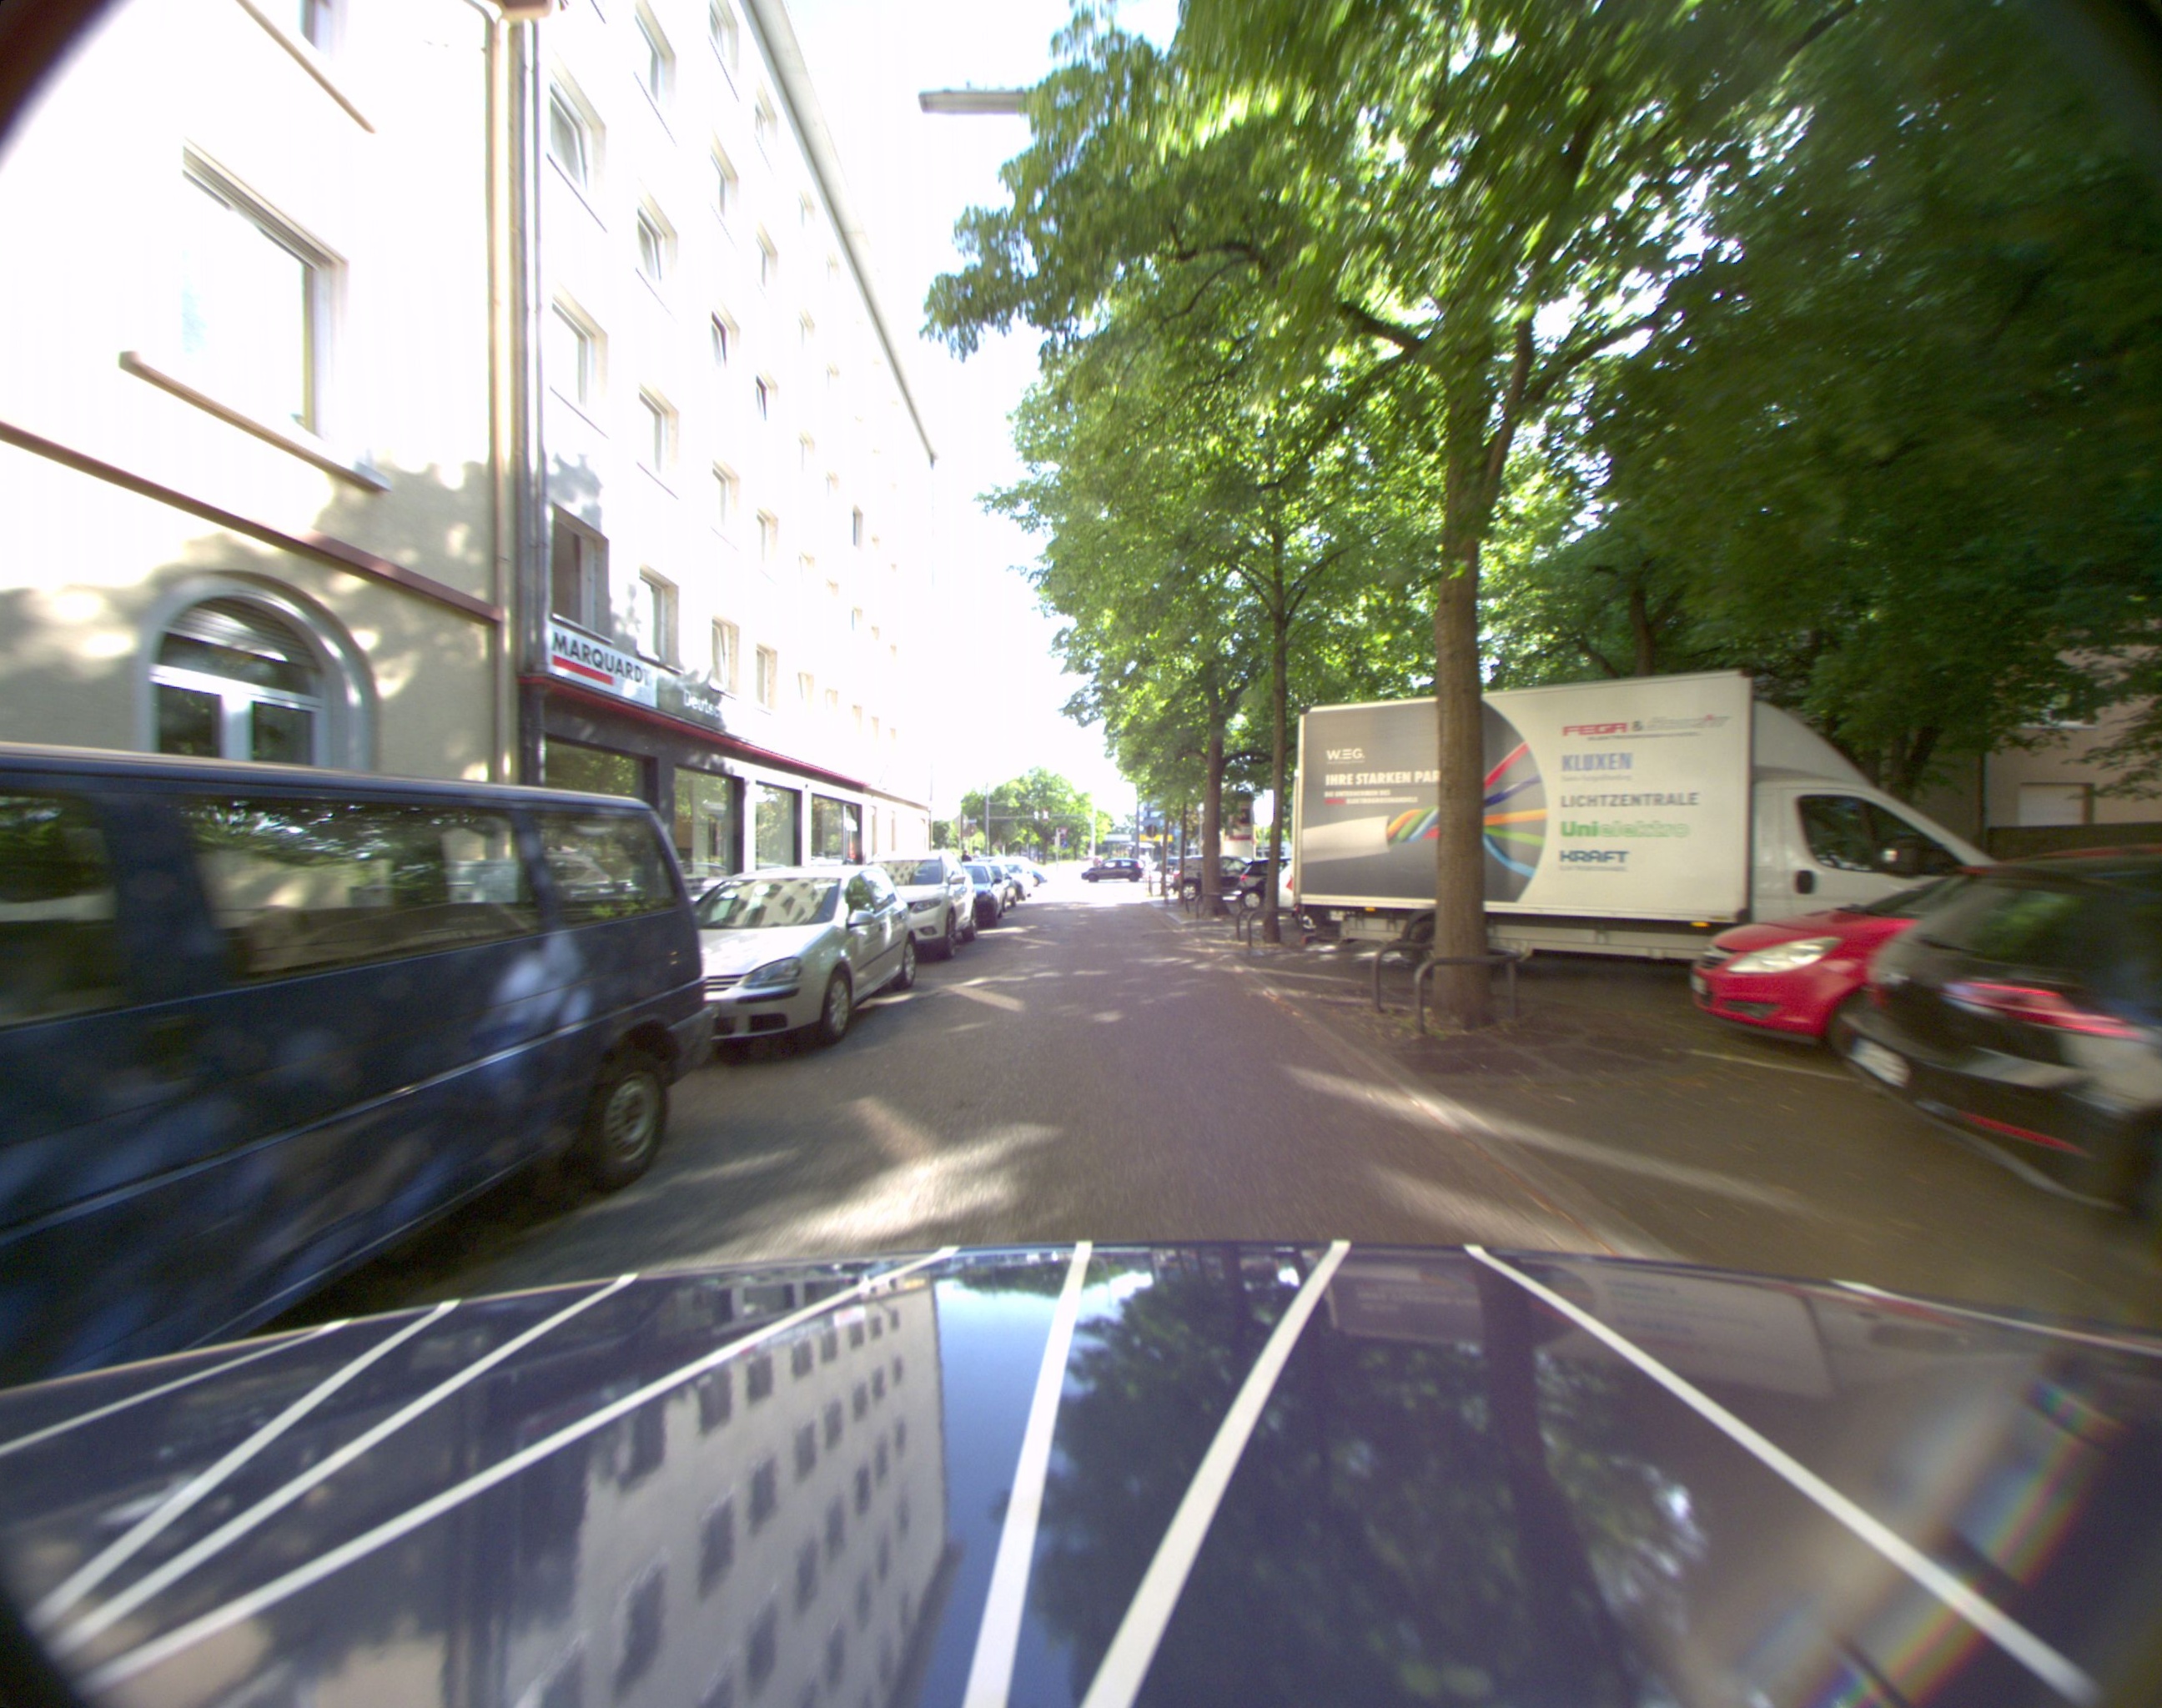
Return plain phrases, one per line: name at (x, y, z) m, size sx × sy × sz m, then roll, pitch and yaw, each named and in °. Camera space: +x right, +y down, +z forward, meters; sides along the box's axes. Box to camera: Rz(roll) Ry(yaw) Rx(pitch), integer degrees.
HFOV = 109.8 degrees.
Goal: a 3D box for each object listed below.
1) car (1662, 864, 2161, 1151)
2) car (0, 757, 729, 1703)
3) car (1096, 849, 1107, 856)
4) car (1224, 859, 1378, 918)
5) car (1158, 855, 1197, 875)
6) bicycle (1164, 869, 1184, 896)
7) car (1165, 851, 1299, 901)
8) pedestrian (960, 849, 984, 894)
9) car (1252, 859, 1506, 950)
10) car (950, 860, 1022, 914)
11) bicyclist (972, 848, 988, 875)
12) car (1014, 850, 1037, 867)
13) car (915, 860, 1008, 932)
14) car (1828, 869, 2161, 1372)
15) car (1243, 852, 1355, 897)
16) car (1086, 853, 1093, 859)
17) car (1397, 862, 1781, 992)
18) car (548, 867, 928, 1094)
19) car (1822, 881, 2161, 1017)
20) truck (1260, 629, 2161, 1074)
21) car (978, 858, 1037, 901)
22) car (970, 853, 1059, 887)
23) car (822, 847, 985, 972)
car at (6.315, 0.844, 4.838) m, size 3.989 × 1.494 × 1.852 m, roll 0°, pitch 1°, yaw 32°
car at (-3.120, 0.746, 2.120) m, size 1.953 × 1.889 × 4.845 m, roll 0°, pitch 0°, yaw 1°
car at (4.201, -0.317, 156.331) m, size 1.998 × 1.543 × 4.485 m, roll 1°, pitch 0°, yaw 0°
car at (6.139, 0.905, 21.274) m, size 3.813 × 1.472 × 1.765 m, roll 0°, pitch 0°, yaw 29°
car at (7.330, 0.818, 57.656) m, size 1.679 × 1.499 × 3.603 m, roll -2°, pitch -1°, yaw 29°
bicycle at (3.904, 1.189, 31.987) m, size 0.354 × 1.066 × 1.591 m, roll 0°, pitch 0°, yaw -10°
car at (5.388, 0.795, 27.287) m, size 4.325 × 1.661 × 1.841 m, roll -2°, pitch -1°, yaw 30°
pedestrian at (-4.262, 0.675, 29.712) m, size 0.760 × 1.712 × 0.745 m, roll 1°, pitch 1°, yaw 7°
car at (5.773, 0.876, 14.940) m, size 4.331 × 1.498 × 1.817 m, roll 0°, pitch 0°, yaw 35°
car at (-2.797, 0.946, 22.992) m, size 1.600 × 1.455 × 3.673 m, roll 0°, pitch 0°, yaw 2°
bicyclist at (-5.961, 0.448, 44.835) m, size 0.829 × 1.555 × 0.595 m, roll 1°, pitch 1°, yaw -21°
car at (-5.240, 0.414, 72.438) m, size 1.922 × 1.509 × 5.036 m, roll 0°, pitch 0°, yaw -1°
car at (-2.727, 0.906, 18.203) m, size 1.807 × 1.455 × 4.438 m, roll 0°, pitch 0°, yaw -4°
car at (5.192, 0.831, 2.154) m, size 4.096 × 1.497 × 1.737 m, roll 0°, pitch 1°, yaw 32°
car at (8.456, 0.758, 29.434) m, size 3.990 × 1.601 × 1.926 m, roll 1°, pitch 0°, yaw 22°
car at (2.490, 0.649, 219.056) m, size 1.998 × 1.652 × 4.485 m, roll 1°, pitch 0°, yaw 0°
car at (7.112, 0.900, 11.078) m, size 4.331 × 1.498 × 1.817 m, roll 0°, pitch 0°, yaw 35°
car at (-2.809, 0.916, 7.402) m, size 1.766 × 1.491 × 4.238 m, roll 0°, pitch 0°, yaw 0°
car at (12.205, 1.095, 9.324) m, size 1.769 × 1.287 × 4.412 m, roll 2°, pitch 0°, yaw -2°
truck at (5.971, -0.050, 8.329) m, size 7.304 × 3.274 × 2.552 m, roll 1°, pitch 0°, yaw 32°
car at (-2.737, 0.912, 28.986) m, size 1.723 × 1.488 × 4.023 m, roll 1°, pitch 0°, yaw 2°
car at (-3.543, 0.835, 40.891) m, size 4.478 × 1.765 × 1.875 m, roll 1°, pitch 0°, yaw 9°
car at (-2.766, 0.774, 12.877) m, size 1.766 × 1.743 × 4.509 m, roll 0°, pitch 0°, yaw -1°
